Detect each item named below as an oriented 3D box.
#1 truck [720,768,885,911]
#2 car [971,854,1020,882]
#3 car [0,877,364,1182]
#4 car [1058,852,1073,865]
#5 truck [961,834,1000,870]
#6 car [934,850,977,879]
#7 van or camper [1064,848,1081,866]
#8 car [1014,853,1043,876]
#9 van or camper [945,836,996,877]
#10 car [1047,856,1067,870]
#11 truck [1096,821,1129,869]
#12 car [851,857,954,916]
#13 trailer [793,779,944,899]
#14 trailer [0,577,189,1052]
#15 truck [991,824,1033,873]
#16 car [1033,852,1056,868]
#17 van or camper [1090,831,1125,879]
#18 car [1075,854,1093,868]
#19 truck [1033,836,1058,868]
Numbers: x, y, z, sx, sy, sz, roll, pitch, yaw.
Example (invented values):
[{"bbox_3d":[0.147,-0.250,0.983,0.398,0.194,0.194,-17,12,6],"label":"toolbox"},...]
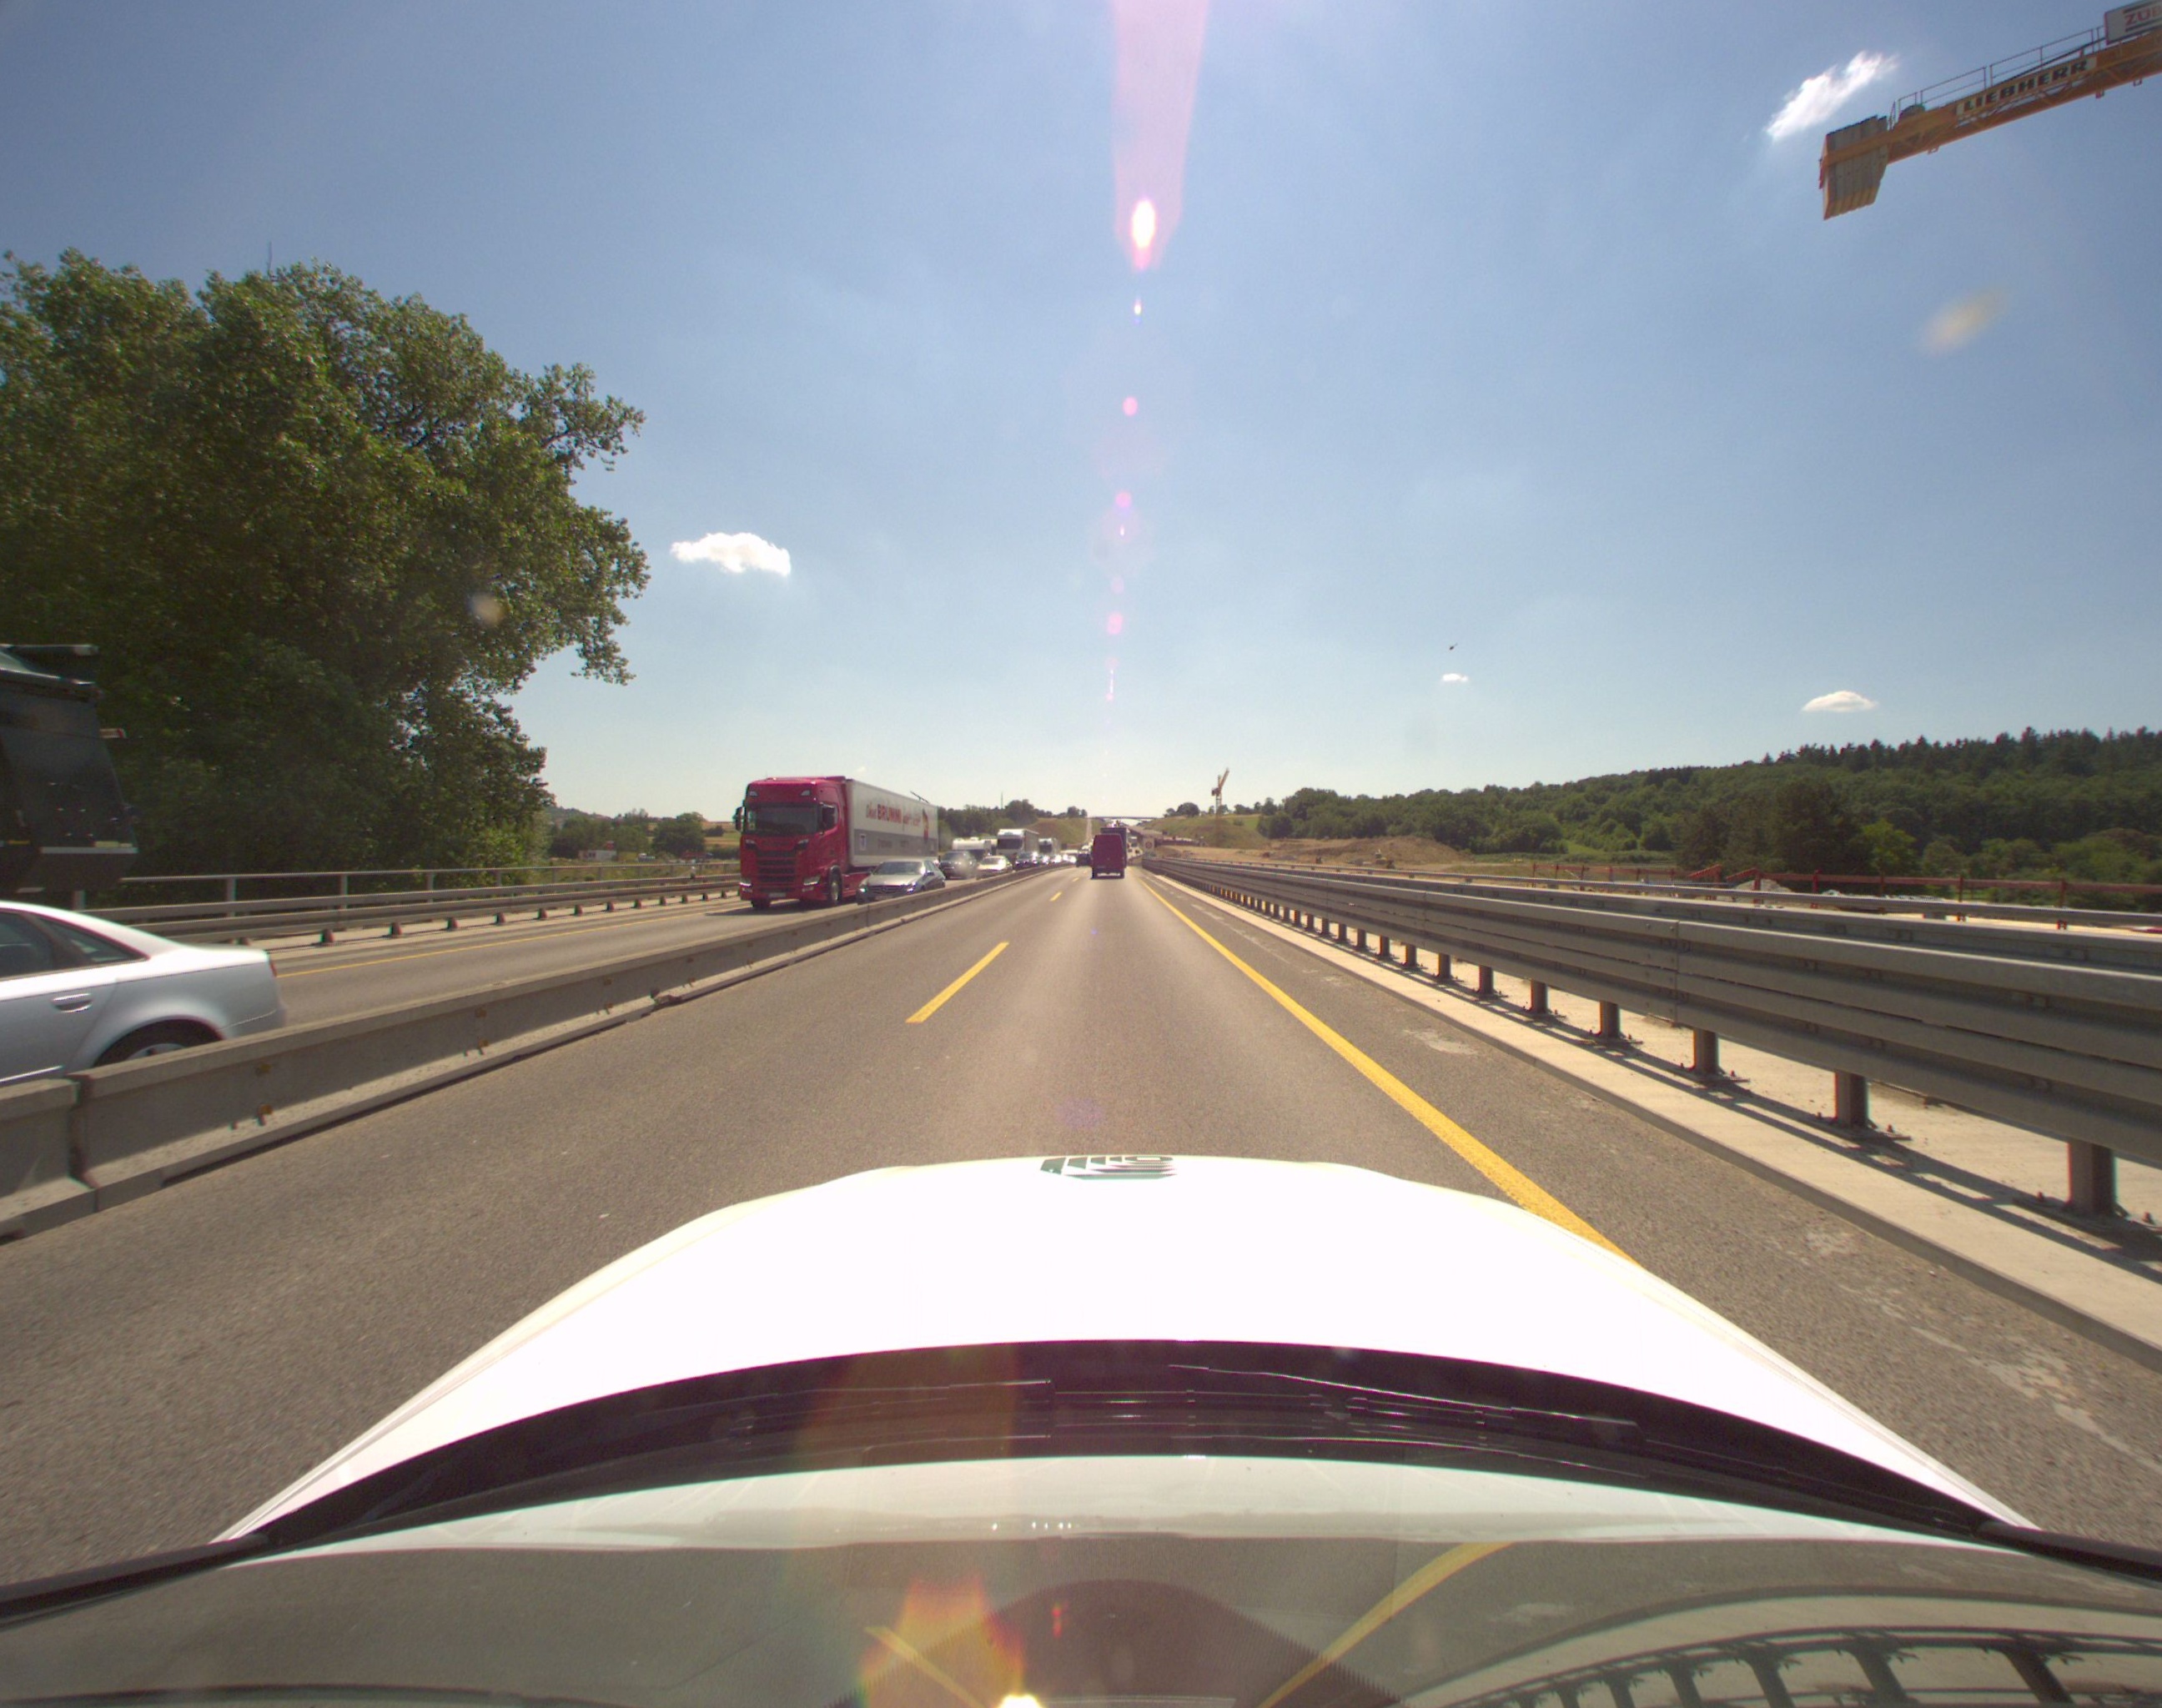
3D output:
[{"bbox_3d":[-8.672,-0.449,26.350,2.805,4.037,6.527,0,0,2],"label":"truck"},{"bbox_3d":[-4.873,0.766,46.968,1.891,1.461,4.202,-2,1,7],"label":"car"},{"bbox_3d":[-5.991,0.886,3.375,1.775,1.380,4.712,-2,0,1],"label":"car"},{"bbox_3d":[-1.944,0.569,104.560,1.750,1.646,4.157,1,0,2],"label":"car"},{"bbox_3d":[-10.854,-0.212,88.705,2.893,3.765,8.372,0,0,2],"label":"truck"},{"bbox_3d":[-7.666,0.611,50.186,1.760,1.734,4.794,0,0,2],"label":"car"},{"bbox_3d":[-1.246,0.408,121.892,2.211,2.511,6.534,1,1,1],"label":"van or camper"},{"bbox_3d":[-4.035,0.771,63.572,1.840,1.688,4.620,1,0,2],"label":"car"},{"bbox_3d":[-7.630,0.158,56.871,2.493,2.698,5.247,-1,0,3],"label":"van or camper"},{"bbox_3d":[-2.675,0.981,90.573,1.858,1.459,4.610,1,0,3],"label":"car"},{"bbox_3d":[3.239,-0.861,84.716,3.010,4.693,6.932,-2,0,0],"label":"truck"},{"bbox_3d":[-5.266,0.891,24.745,1.883,1.487,4.922,1,1,2],"label":"car"},{"bbox_3d":[-8.419,-0.588,34.308,2.795,4.176,11.805,0,1,2],"label":"trailer"},{"bbox_3d":[-9.797,-0.310,3.125,2.784,3.672,8.958,-1,0,1],"label":"trailer"},{"bbox_3d":[-6.686,-0.480,79.698,3.065,4.537,7.108,-1,0,3],"label":"truck"},{"bbox_3d":[-3.391,0.526,76.633,1.770,1.420,4.541,1,0,3],"label":"car"},{"bbox_3d":[1.562,0.048,49.674,2.022,2.744,4.515,0,0,0],"label":"van or camper"},{"bbox_3d":[0.411,0.755,93.006,2.005,1.545,4.133,-1,0,1],"label":"car"},{"bbox_3d":[-4.904,-0.264,113.822,2.795,4.392,6.229,-1,0,3],"label":"truck"}]
